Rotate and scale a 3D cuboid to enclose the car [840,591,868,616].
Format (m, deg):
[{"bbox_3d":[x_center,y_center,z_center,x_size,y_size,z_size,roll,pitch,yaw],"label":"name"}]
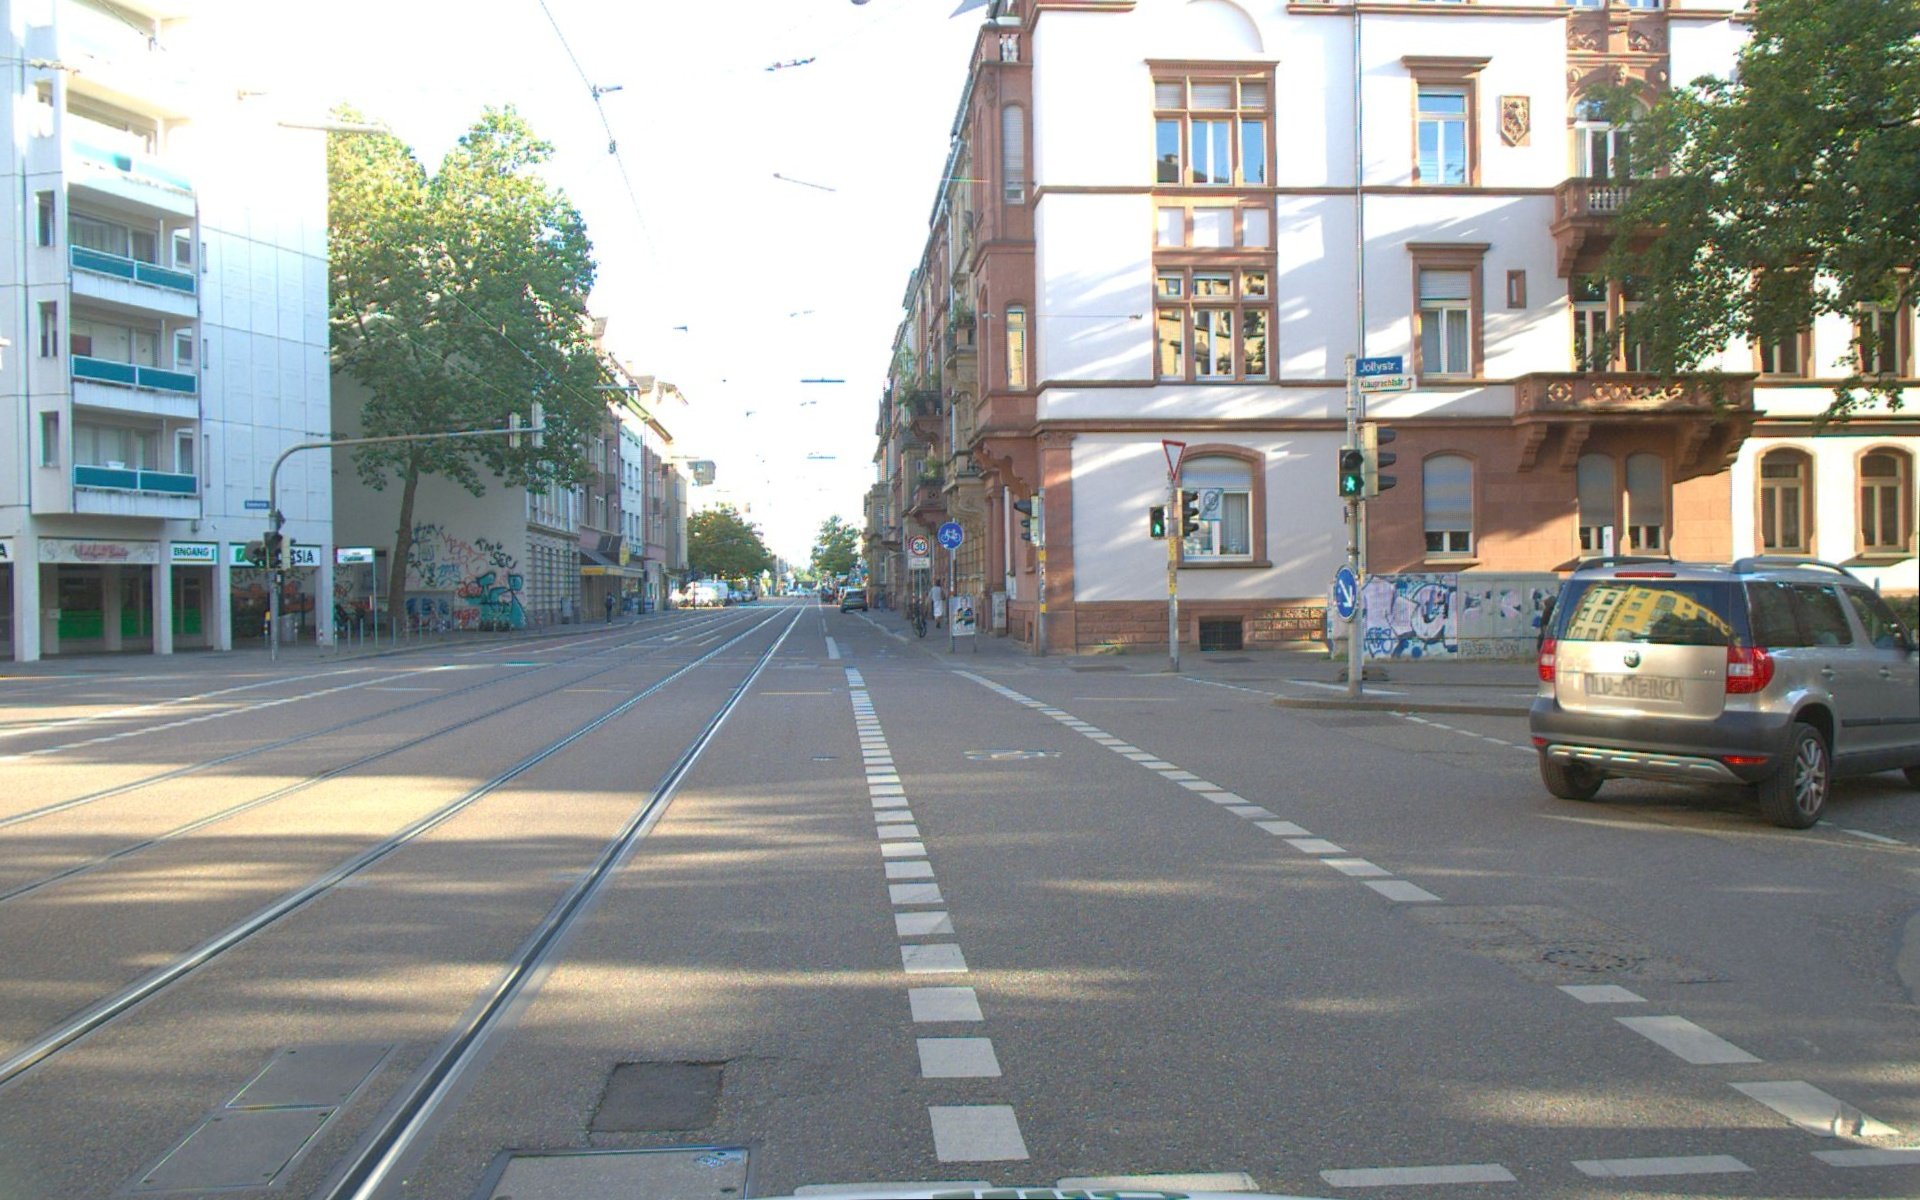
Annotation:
[{"bbox_3d":[-7.565,0.216,118.172,1.911,1.713,3.997,-1,0,-4],"label":"car"}]

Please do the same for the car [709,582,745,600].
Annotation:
[{"bbox_3d":[-28.418,-1.097,201.956,3.945,2.049,1.980,-1,0,-30],"label":"car"}]

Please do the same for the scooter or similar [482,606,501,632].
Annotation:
[{"bbox_3d":[-19.284,0.767,68.112,0.507,1.064,1.476,-1,0,-7],"label":"scooter or similar"}]

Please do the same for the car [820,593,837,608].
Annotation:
[{"bbox_3d":[-15.267,0.056,192.029,1.955,1.758,3.995,0,0,-5],"label":"car"}]

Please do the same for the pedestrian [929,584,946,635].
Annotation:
[{"bbox_3d":[-0.814,0.333,59.703,0.534,1.811,0.503,-1,0,-4],"label":"pedestrian"}]

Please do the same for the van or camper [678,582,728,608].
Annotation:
[{"bbox_3d":[-25.888,-0.511,166.616,4.598,2.608,1.975,0,-1,-36],"label":"van or camper"}]

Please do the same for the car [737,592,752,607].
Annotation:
[{"bbox_3d":[-29.821,-0.057,228.775,1.955,2.049,3.995,-1,0,-6],"label":"car"}]

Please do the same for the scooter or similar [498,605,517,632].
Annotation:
[{"bbox_3d":[-18.650,0.756,68.205,0.507,1.076,1.476,-1,0,-7],"label":"scooter or similar"}]

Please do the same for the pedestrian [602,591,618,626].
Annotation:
[{"bbox_3d":[-17.732,0.430,83.894,0.687,1.759,0.647,-1,0,-5],"label":"pedestrian"}]

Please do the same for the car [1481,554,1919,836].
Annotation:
[{"bbox_3d":[5.681,0.506,11.829,3.964,1.646,1.971,-2,2,-41],"label":"car"}]

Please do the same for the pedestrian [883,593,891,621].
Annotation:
[{"bbox_3d":[-4.767,0.456,107.983,0.534,1.811,0.749,-1,0,-4],"label":"pedestrian"}]

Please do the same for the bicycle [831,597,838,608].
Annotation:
[{"bbox_3d":[-12.224,0.280,161.160,0.564,1.048,1.893,-1,0,-4],"label":"bicycle"}]

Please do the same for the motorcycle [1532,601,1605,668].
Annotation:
[{"bbox_3d":[10.862,0.599,29.596,0.704,1.037,2.289,-1,2,7],"label":"motorcycle"}]

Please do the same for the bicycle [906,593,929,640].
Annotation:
[{"bbox_3d":[-1.278,0.478,49.174,0.640,1.347,2.175,-1,0,-2],"label":"bicycle"}]

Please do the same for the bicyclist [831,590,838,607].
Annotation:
[{"bbox_3d":[-12.233,-0.141,161.155,0.564,1.581,0.594,-1,0,-4],"label":"bicyclist"}]
